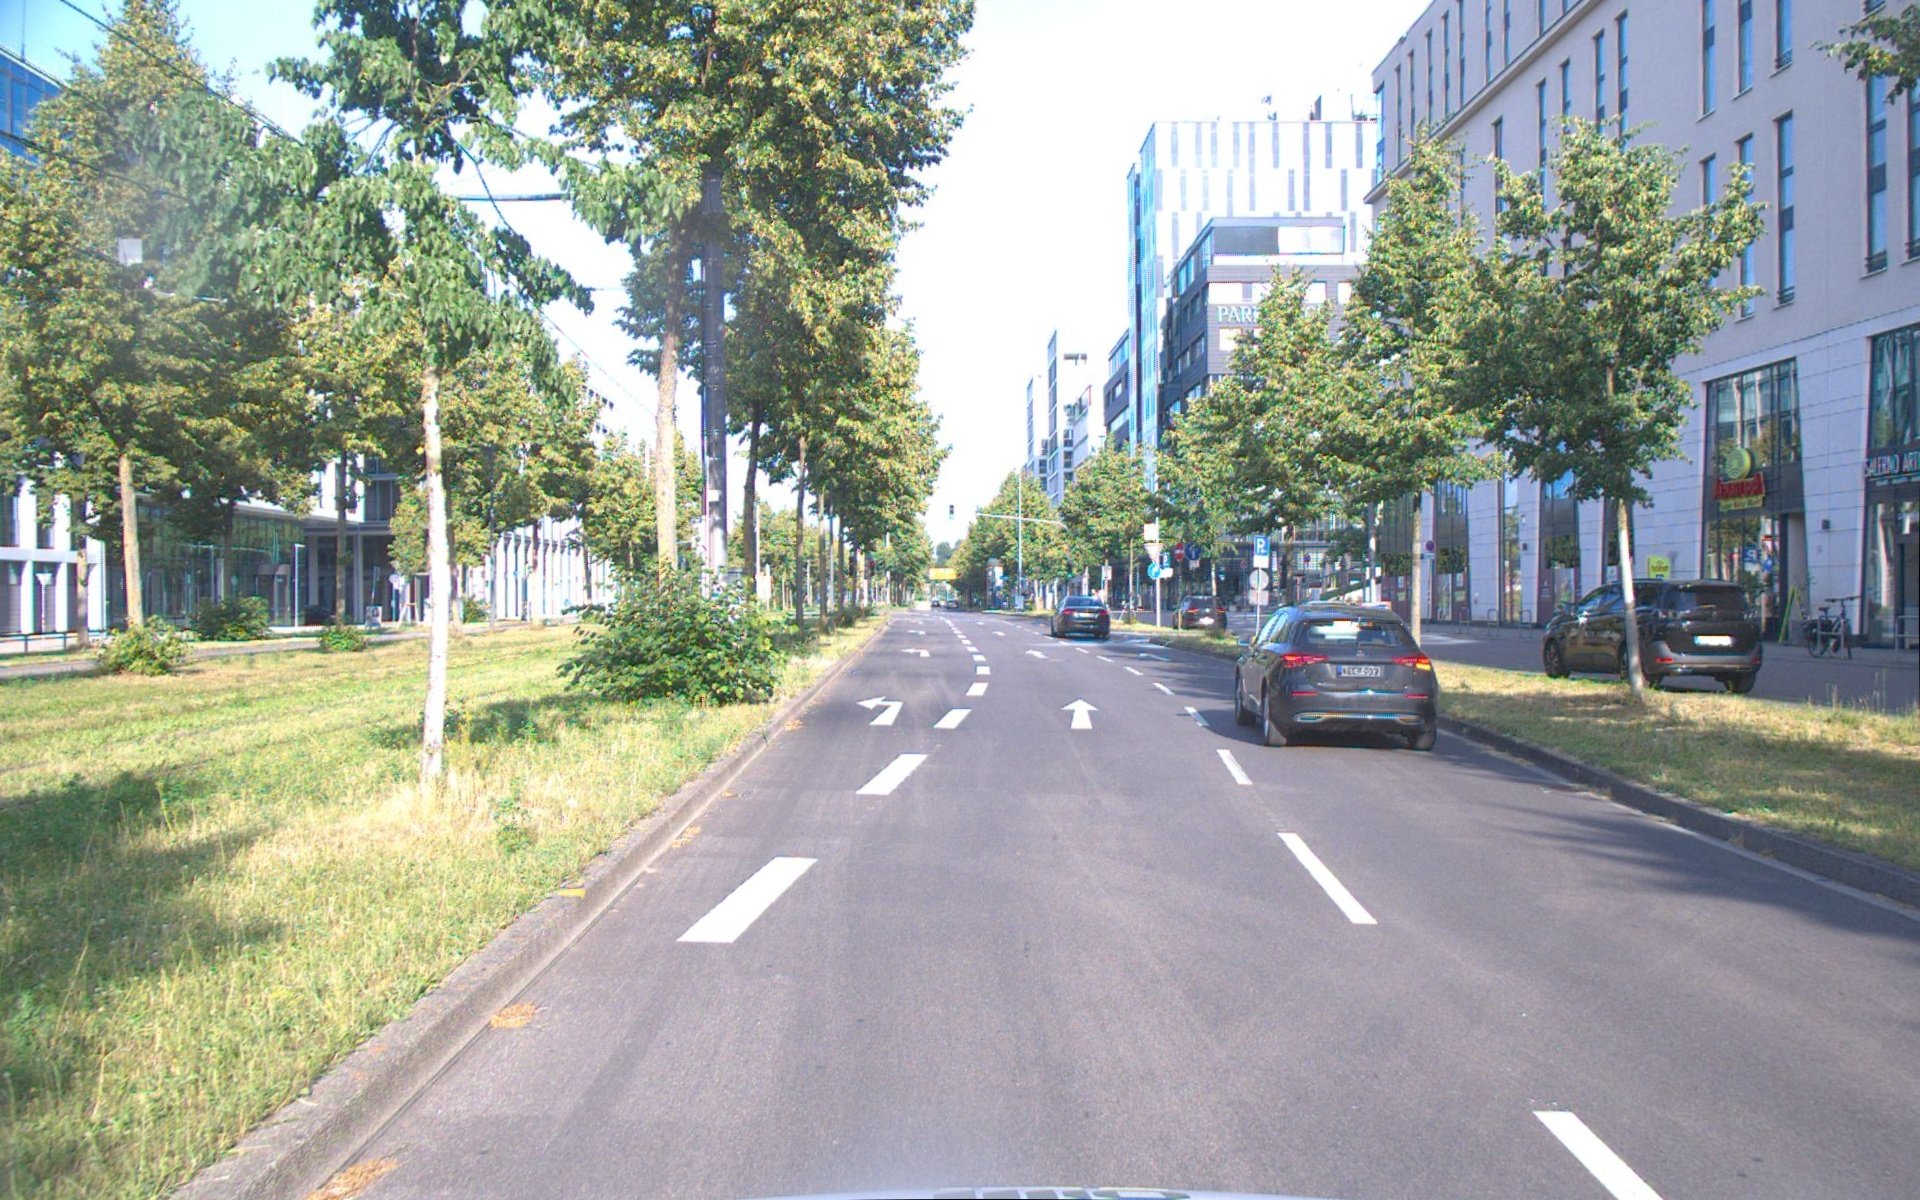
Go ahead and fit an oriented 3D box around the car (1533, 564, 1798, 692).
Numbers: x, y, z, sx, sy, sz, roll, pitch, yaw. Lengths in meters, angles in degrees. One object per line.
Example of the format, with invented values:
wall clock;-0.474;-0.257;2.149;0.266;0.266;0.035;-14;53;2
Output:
car;10.662;0.364;25.438;1.859;1.738;4.675;1;1;-3

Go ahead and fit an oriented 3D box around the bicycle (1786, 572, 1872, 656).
bicycle;17.552;0.286;33.459;0.544;1.647;2.212;1;-1;-1

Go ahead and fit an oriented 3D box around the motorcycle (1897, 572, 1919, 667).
motorcycle;17.033;0.313;28.260;0.687;1.645;2.010;-4;0;-4

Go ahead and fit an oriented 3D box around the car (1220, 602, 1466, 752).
car;4.094;0.776;18.301;1.738;1.449;3.960;1;0;-1

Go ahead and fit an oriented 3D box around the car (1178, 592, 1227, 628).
car;9.848;0.407;67.384;1.573;1.394;4.159;1;0;3

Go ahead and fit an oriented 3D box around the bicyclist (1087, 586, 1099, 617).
bicyclist;7.562;0.111;93.837;0.563;1.737;0.540;1;-1;-6

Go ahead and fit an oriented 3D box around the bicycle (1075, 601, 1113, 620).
bicycle;7.591;0.609;93.850;2.092;1.030;0.571;1;-1;-5

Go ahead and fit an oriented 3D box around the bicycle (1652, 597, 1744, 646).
bicycle;17.124;0.512;38.416;0.629;1.103;1.877;0;-1;-39

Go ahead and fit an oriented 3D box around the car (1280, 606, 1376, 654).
car;10.208;0.814;46.131;1.674;1.264;3.903;1;0;-2

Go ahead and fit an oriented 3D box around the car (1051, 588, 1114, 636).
car;4.202;0.421;57.263;1.822;1.551;3.784;1;0;-1
